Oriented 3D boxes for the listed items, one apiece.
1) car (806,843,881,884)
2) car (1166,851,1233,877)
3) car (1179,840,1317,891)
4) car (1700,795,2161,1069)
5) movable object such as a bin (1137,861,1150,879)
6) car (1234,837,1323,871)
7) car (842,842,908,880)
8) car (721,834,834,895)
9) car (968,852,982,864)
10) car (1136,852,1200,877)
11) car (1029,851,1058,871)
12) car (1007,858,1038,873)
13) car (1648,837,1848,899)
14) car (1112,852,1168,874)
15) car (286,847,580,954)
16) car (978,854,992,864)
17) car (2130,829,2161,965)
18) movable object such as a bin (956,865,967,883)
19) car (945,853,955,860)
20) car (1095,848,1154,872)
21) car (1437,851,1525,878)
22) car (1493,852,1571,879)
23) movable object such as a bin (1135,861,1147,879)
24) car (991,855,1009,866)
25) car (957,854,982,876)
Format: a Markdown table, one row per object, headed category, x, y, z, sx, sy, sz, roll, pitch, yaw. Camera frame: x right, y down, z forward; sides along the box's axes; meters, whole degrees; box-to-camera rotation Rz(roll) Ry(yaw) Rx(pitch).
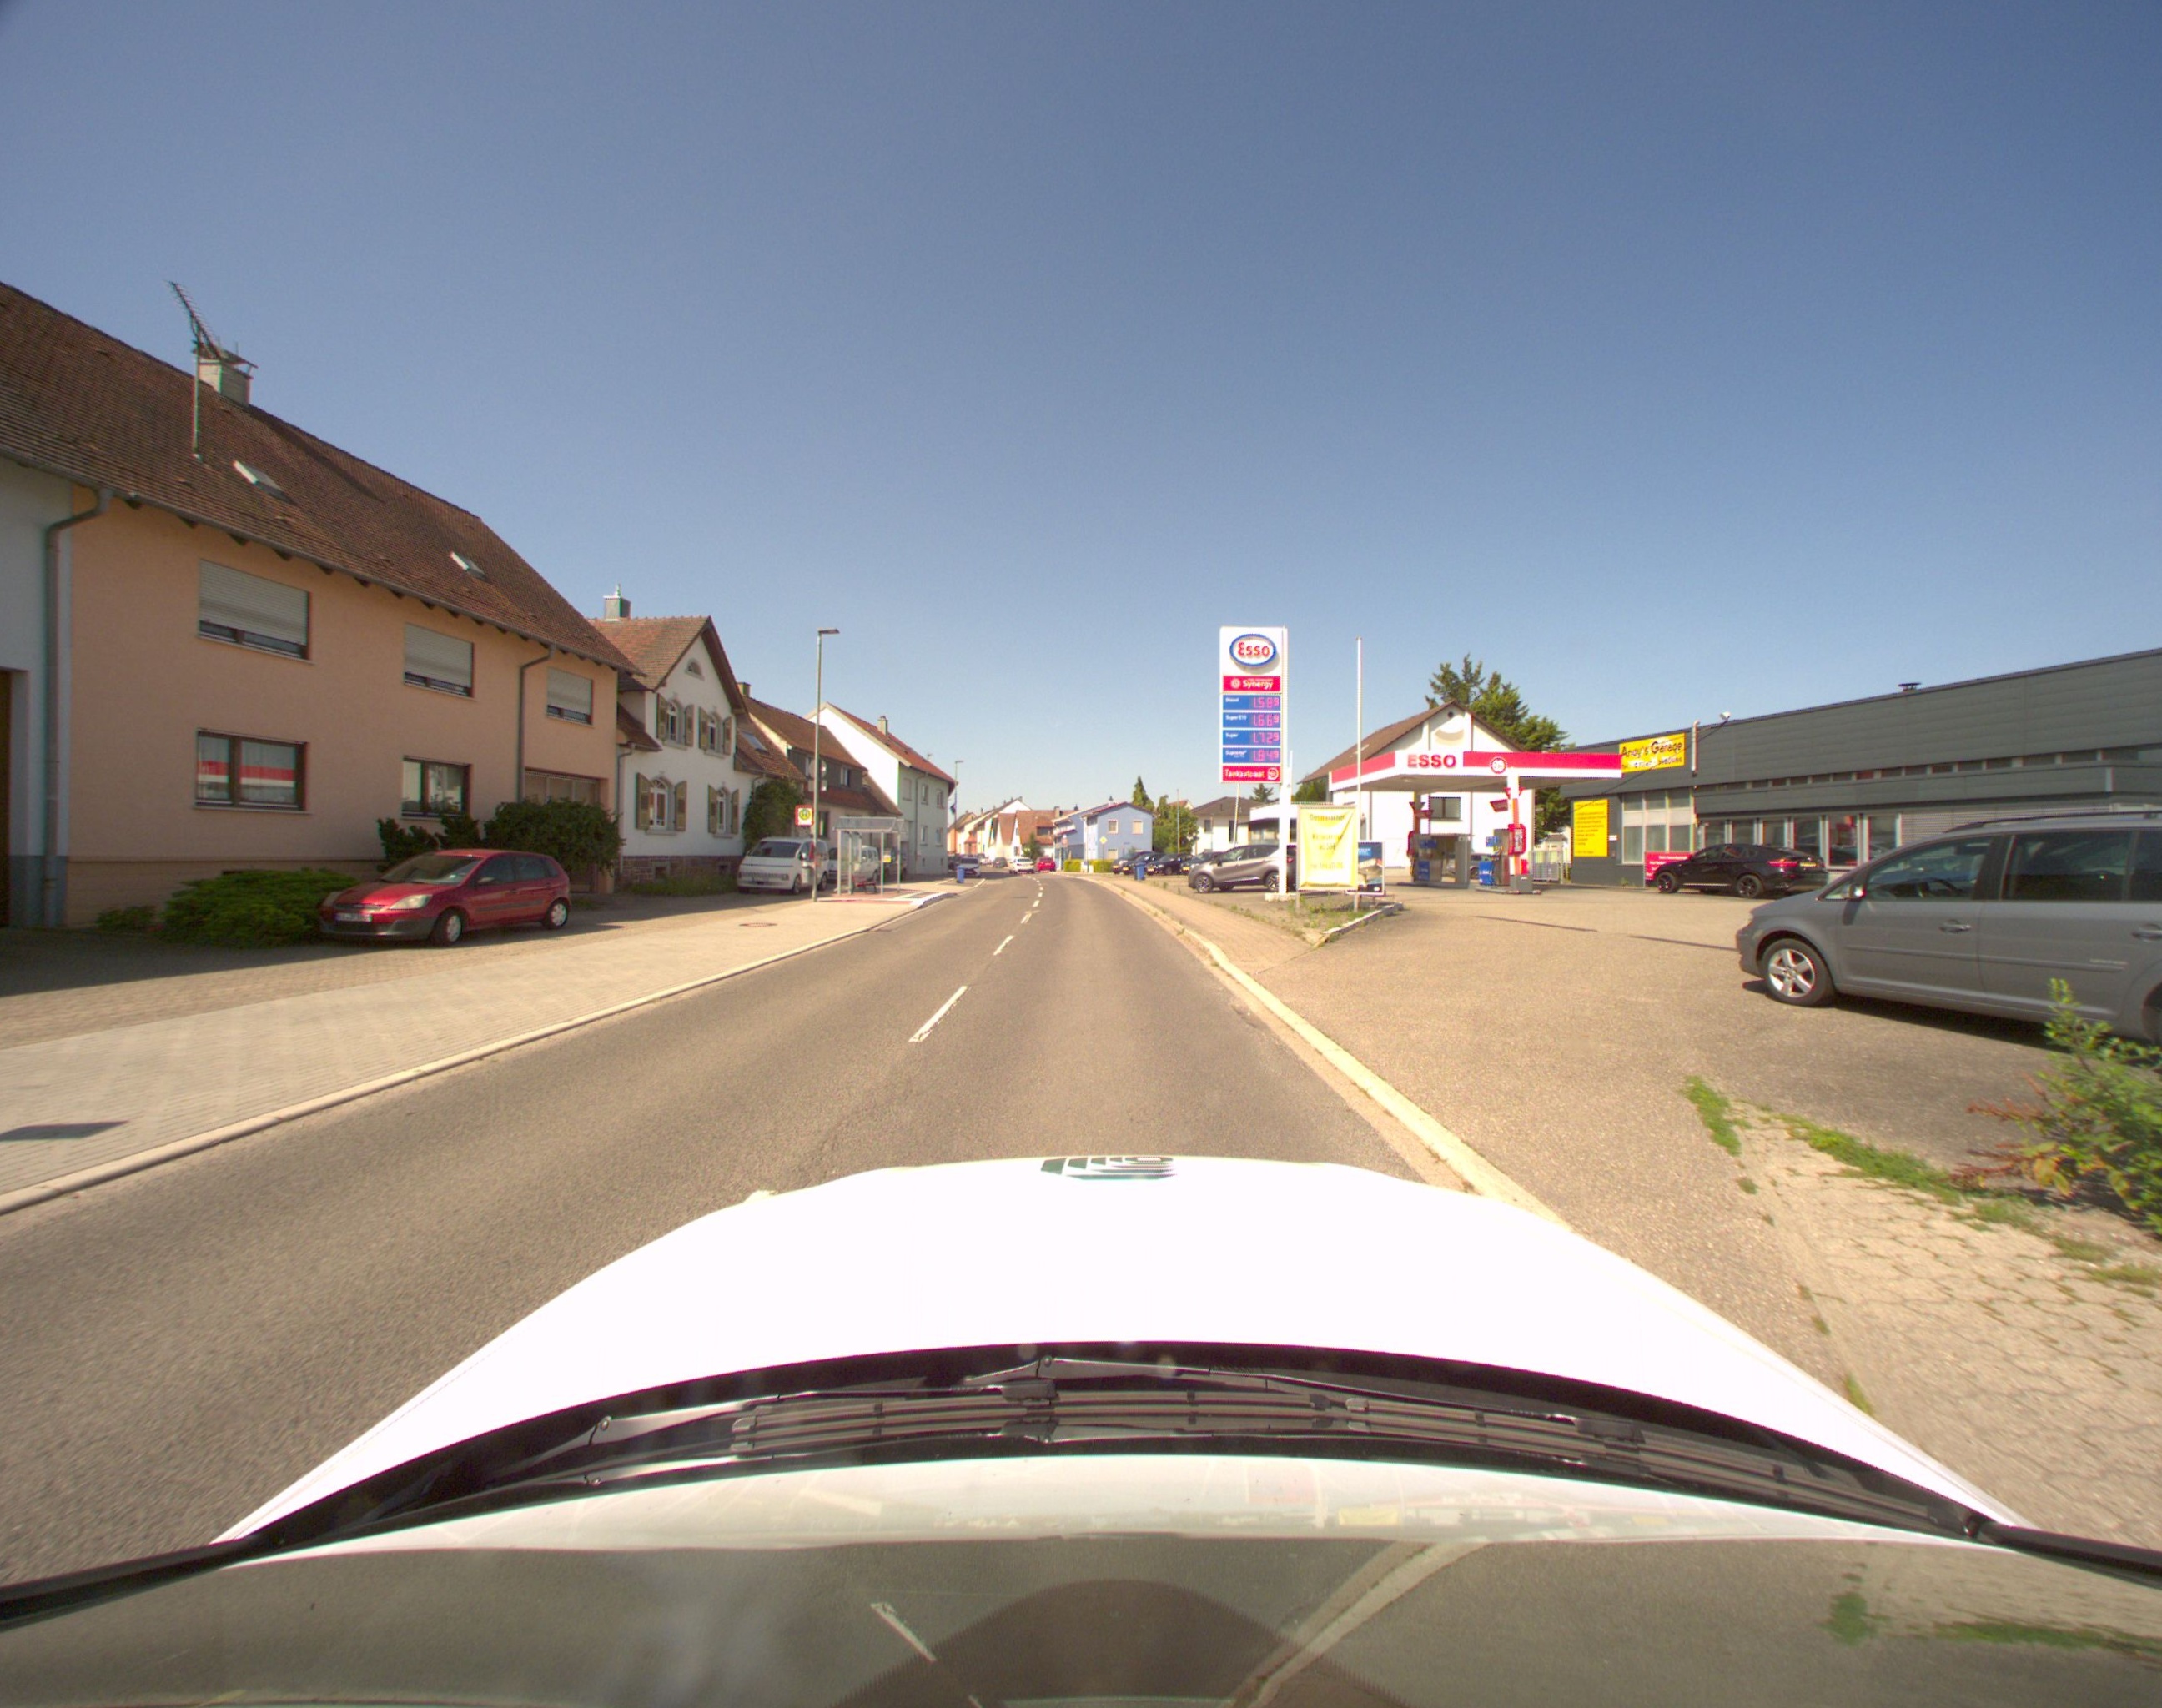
| category | x | y | z | sx | sy | sz | roll | pitch | yaw |
| --- | --- | --- | --- | --- | --- | --- | --- | --- | --- |
| car | -11.022 | 0.455 | 38.160 | 1.959 | 1.774 | 4.281 | 1 | -1 | 4 |
| car | 7.627 | 0.611 | 52.096 | 4.342 | 1.550 | 1.960 | 0 | 0 | -43 |
| car | 5.548 | 0.409 | 27.244 | 4.127 | 1.555 | 1.786 | -3 | -1 | 35 |
| car | 7.433 | 0.437 | 6.250 | 1.801 | 1.686 | 4.361 | -2 | 1 | -5 |
| movable object such as a bin | 3.319 | 0.820 | 43.150 | 0.558 | 0.939 | 0.512 | -1 | 0 | -12 |
| car | 12.364 | -0.028 | 51.025 | 5.299 | 2.013 | 2.212 | -1 | 0 | -28 |
| car | -10.723 | 0.365 | 42.710 | 1.827 | 1.793 | 4.351 | 3 | 0 | 7 |
| car | -10.752 | 0.377 | 29.365 | 2.119 | 1.986 | 5.263 | 1 | -1 | -1 |
| car | -17.090 | 0.594 | 130.919 | 1.653 | 1.910 | 3.606 | 1 | -1 | -16 |
| car | 5.752 | 0.646 | 53.501 | 1.960 | 1.565 | 4.264 | -1 | 0 | 45 |
| car | -3.692 | 0.654 | 79.141 | 1.737 | 1.494 | 4.331 | -2 | 4 | -17 |
| car | -5.288 | 1.053 | 73.405 | 1.997 | 1.288 | 3.979 | 0 | -1 | -16 |
| car | 20.599 | 0.350 | 25.494 | 1.805 | 1.741 | 4.801 | 1 | 1 | -11 |
| car | 4.063 | 0.614 | 55.871 | 1.729 | 1.447 | 3.896 | -1 | 0 | 45 |
| car | -10.386 | 0.646 | 13.506 | 1.709 | 1.453 | 3.915 | 1 | 1 | 0 |
| car | -14.904 | 0.718 | 126.286 | 1.708 | 1.497 | 3.433 | 1 | -1 | -16 |
| car | 13.772 | 0.480 | 7.869 | 1.840 | 1.592 | 4.095 | 0 | -1 | -7 |
| movable object such as a bin | -6.614 | 1.099 | 44.982 | 0.558 | 0.936 | 0.512 | 2 | -1 | -12 |
| car | -26.944 | 0.507 | 167.067 | 1.770 | 1.433 | 3.432 | 0 | -1 | -15 |
| car | 3.126 | 0.438 | 58.394 | 4.136 | 1.653 | 1.809 | 0 | 0 | -41 |
| car | 22.213 | 0.574 | 45.279 | 4.055 | 1.480 | 1.808 | 0 | -1 | -5 |
| car | 27.663 | 0.711 | 50.121 | 4.026 | 1.480 | 1.821 | 2 | -1 | 23 |
| movable object such as a bin | 3.224 | 0.845 | 43.708 | 0.558 | 0.936 | 0.512 | -1 | 0 | -12 |
| car | -10.930 | 0.903 | 110.041 | 1.708 | 1.433 | 3.868 | 1 | -1 | -16 |
| car | -7.836 | 0.787 | 57.324 | 1.683 | 1.462 | 3.639 | 1 | -1 | -8 |
